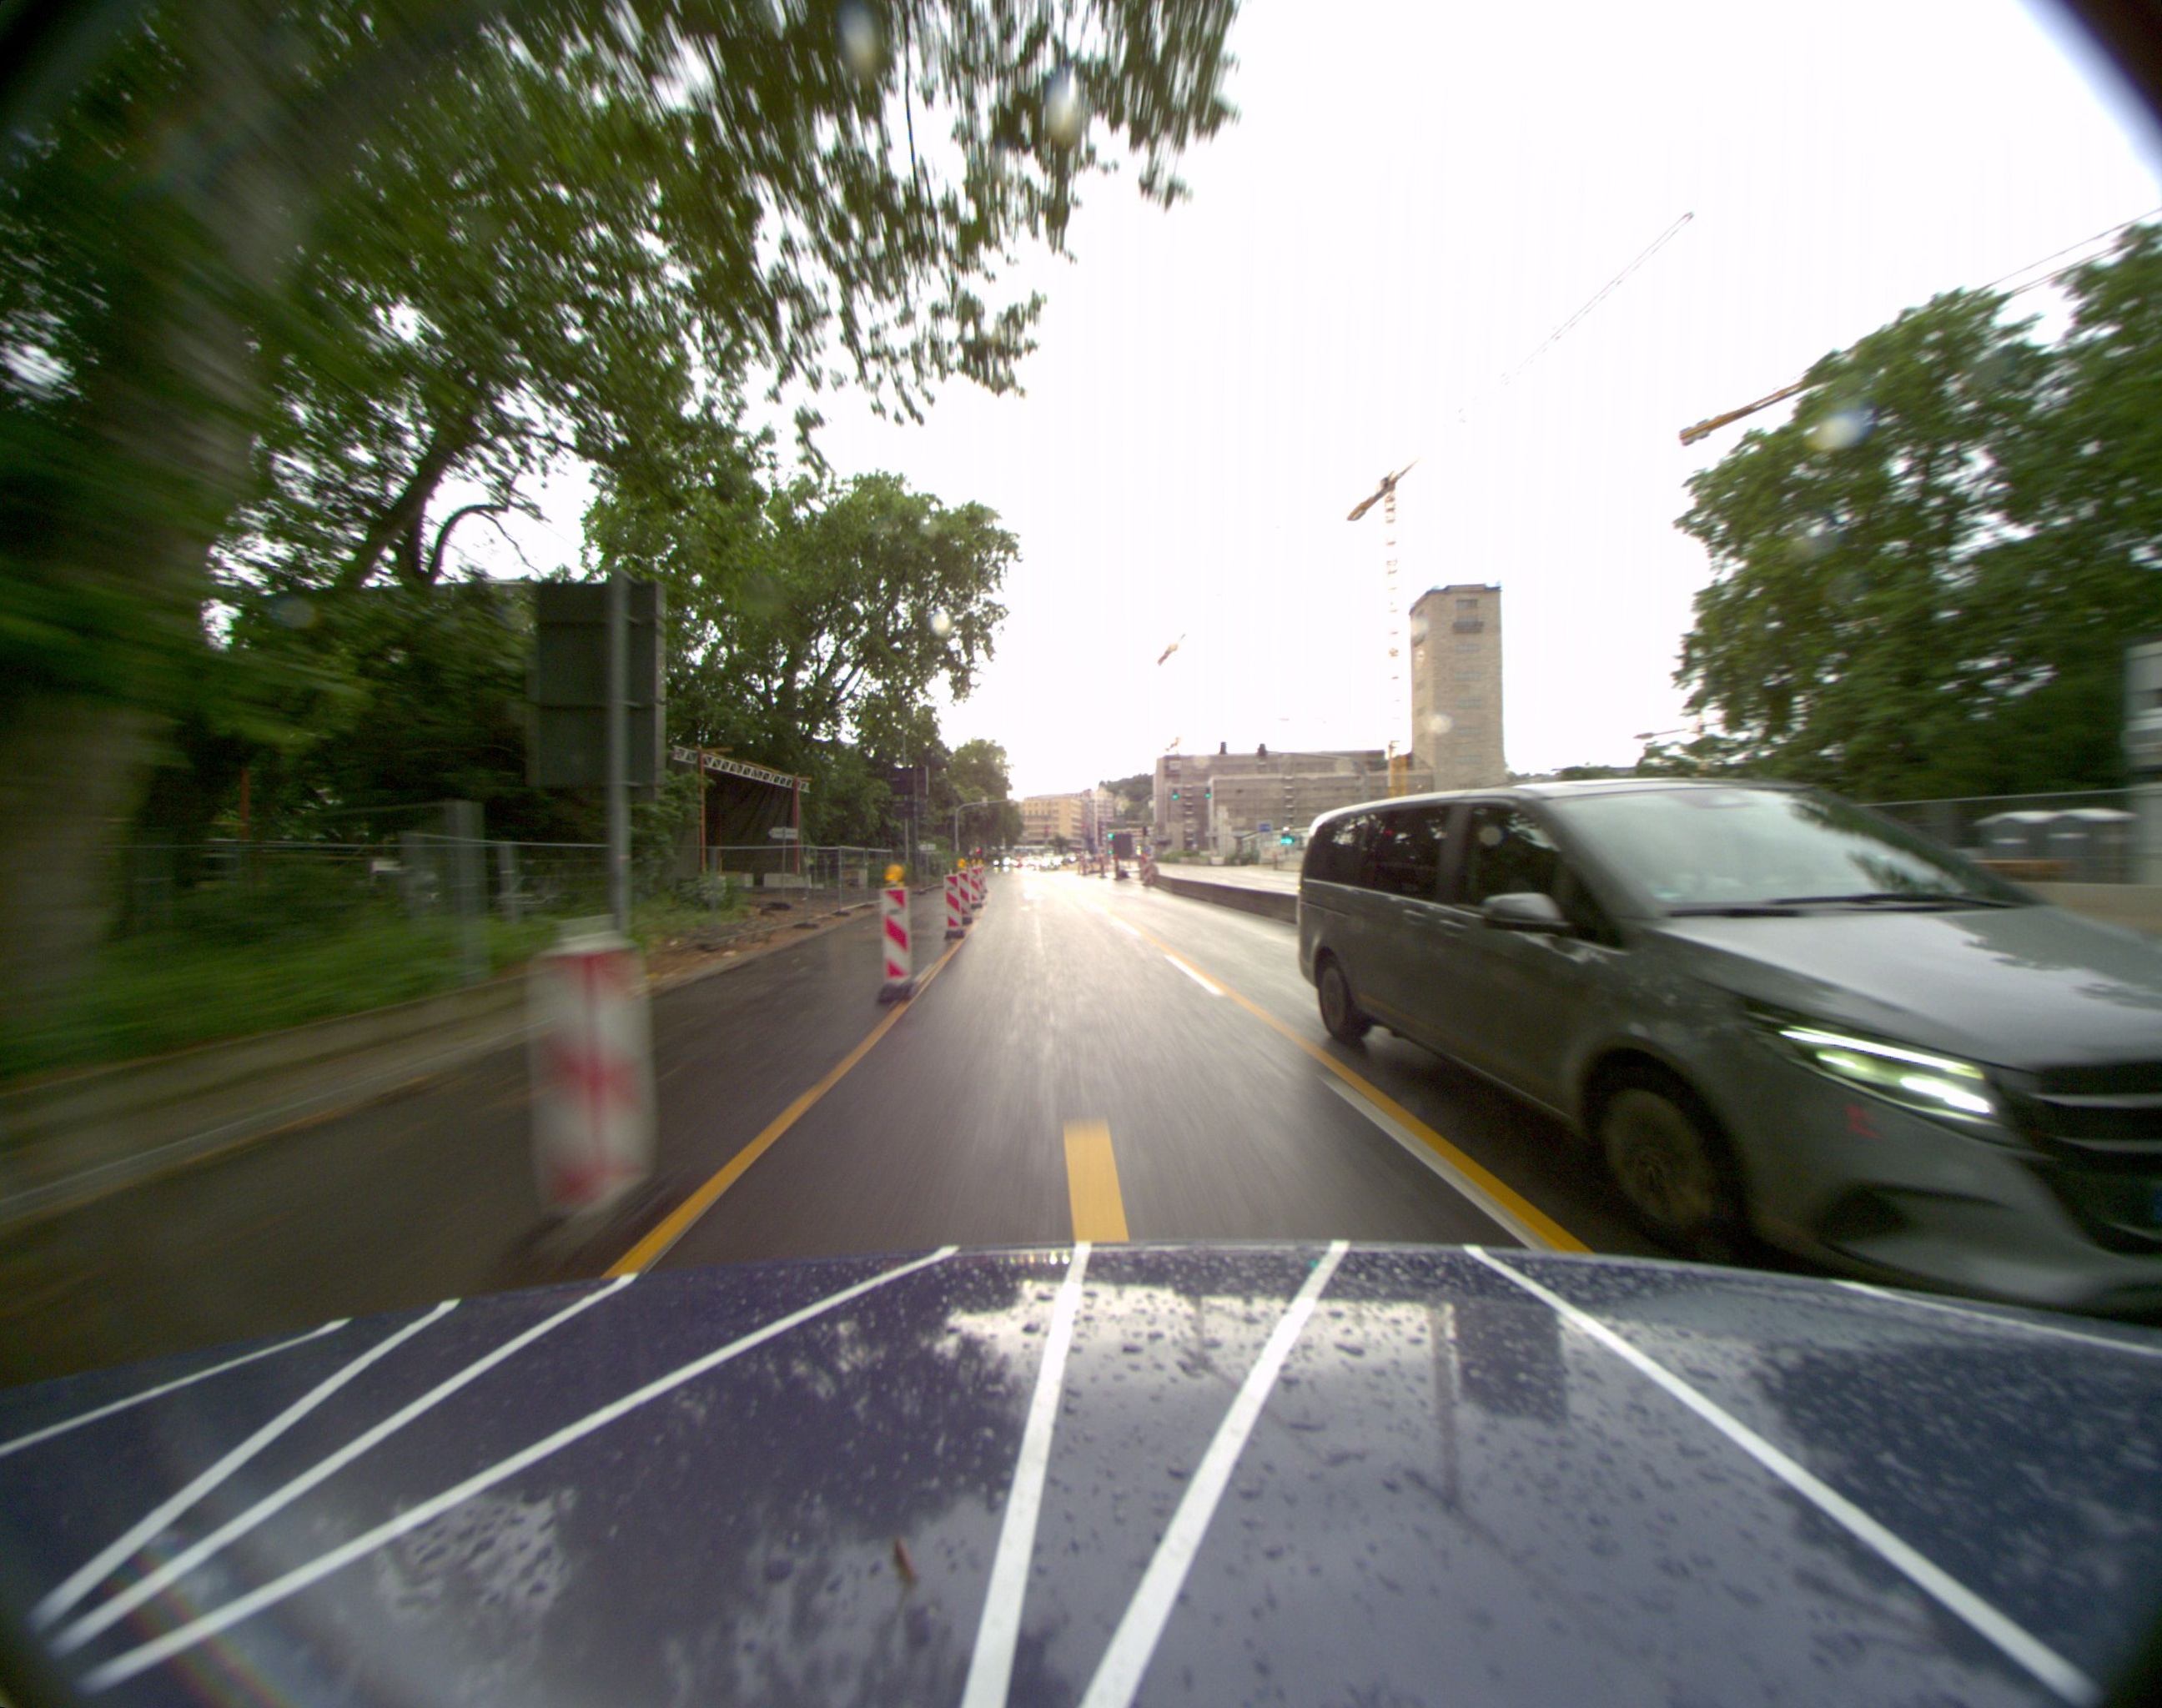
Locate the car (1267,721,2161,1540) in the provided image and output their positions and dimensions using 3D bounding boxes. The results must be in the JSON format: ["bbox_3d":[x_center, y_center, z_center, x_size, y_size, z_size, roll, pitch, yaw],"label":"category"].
[{"bbox_3d":[2.897,0.621,4.449,1.999,1.845,5.356,-2,0,-3],"label":"car"}]

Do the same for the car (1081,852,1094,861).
[{"bbox_3d":[1.156,0.497,137.885,2.173,1.564,3.999,0,0,-2],"label":"car"}]

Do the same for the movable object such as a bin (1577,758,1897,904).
[{"bbox_3d":[24.211,-0.777,29.038,4.763,4.775,8.356,0,0,-3],"label":"movable object such as a bin"}]

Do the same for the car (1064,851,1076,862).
[{"bbox_3d":[-1.896,0.375,131.839,1.999,1.803,4.292,0,0,-2],"label":"car"}]

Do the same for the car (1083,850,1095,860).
[{"bbox_3d":[1.424,0.172,131.392,1.832,1.643,4.572,0,0,-3],"label":"car"}]

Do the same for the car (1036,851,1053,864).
[{"bbox_3d":[-5.032,0.466,104.479,1.813,1.455,4.918,15,0,-1],"label":"car"}]
